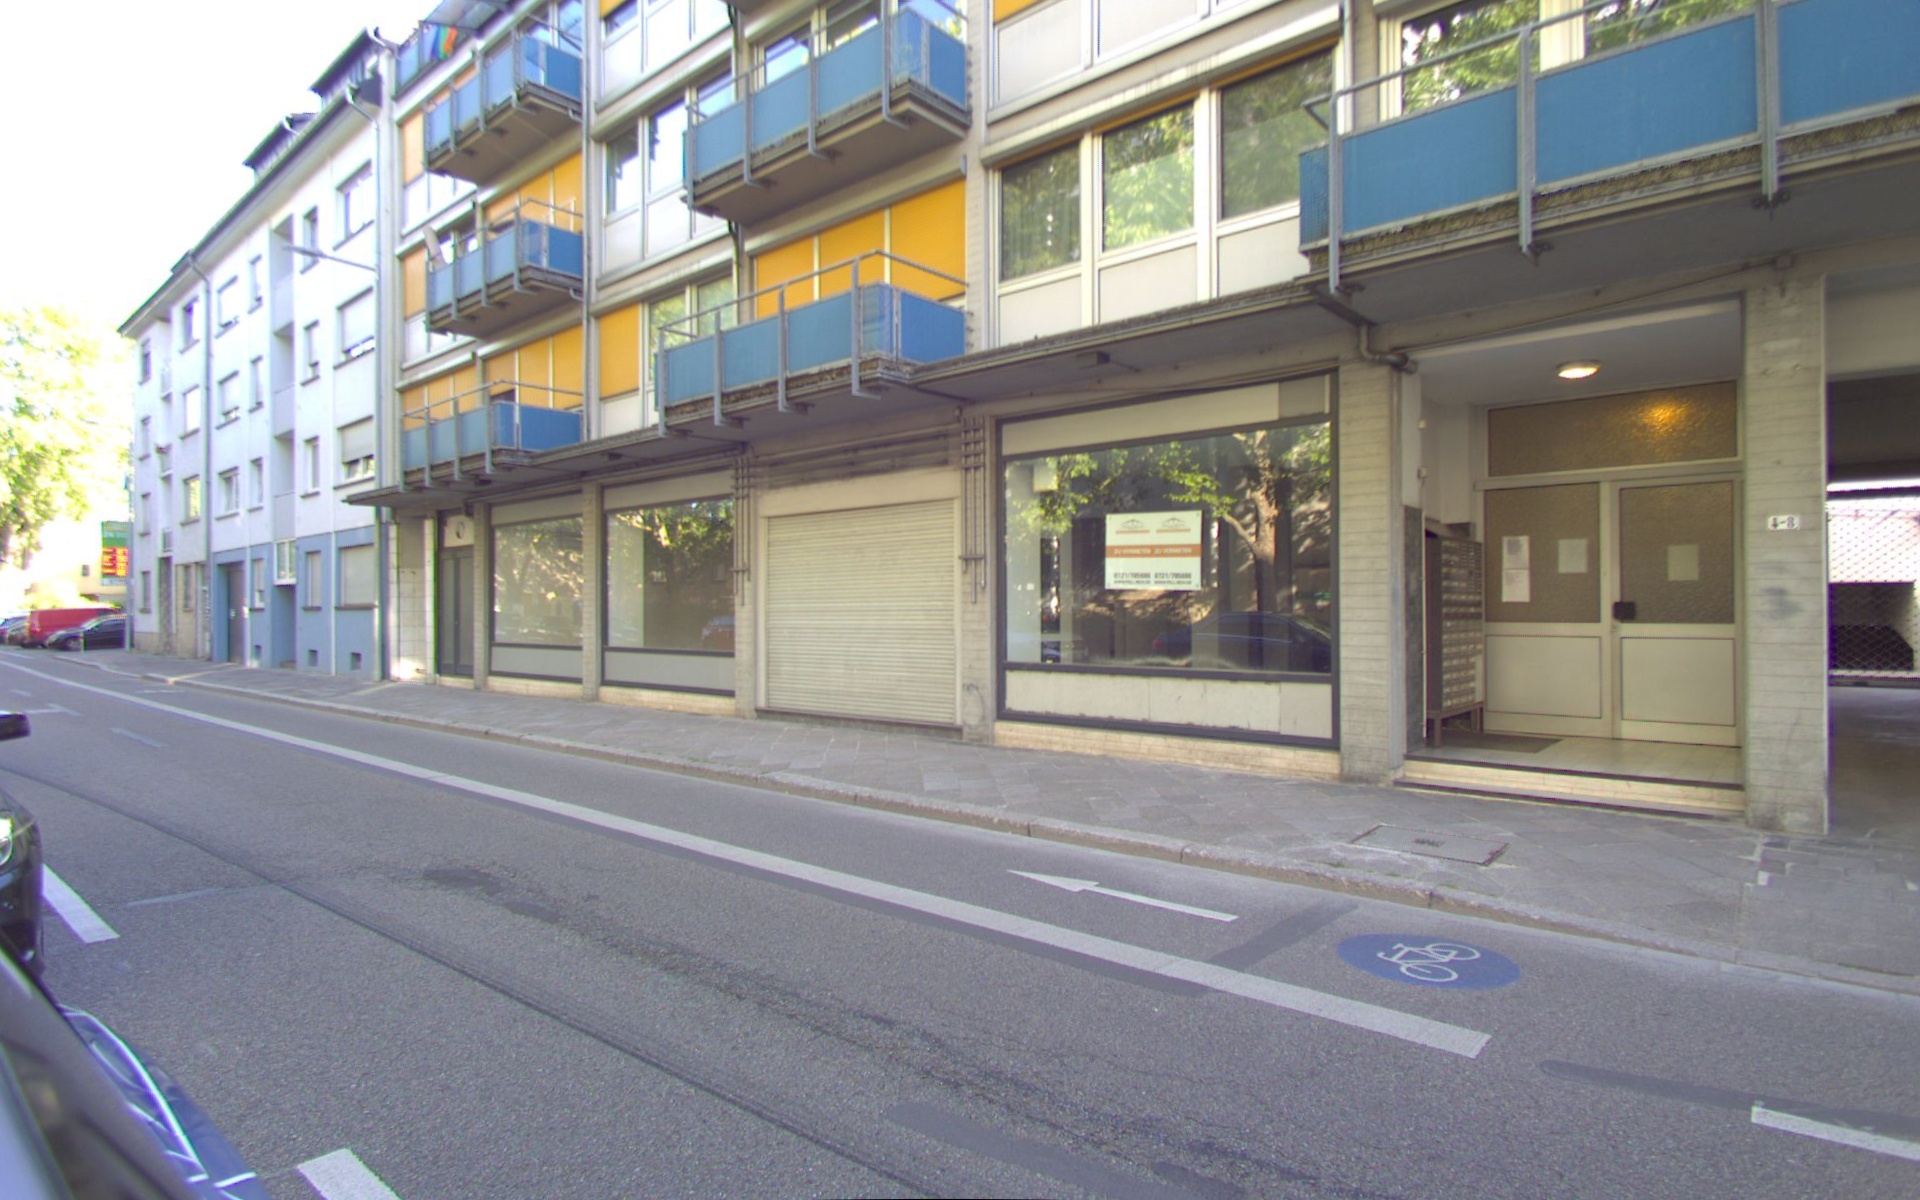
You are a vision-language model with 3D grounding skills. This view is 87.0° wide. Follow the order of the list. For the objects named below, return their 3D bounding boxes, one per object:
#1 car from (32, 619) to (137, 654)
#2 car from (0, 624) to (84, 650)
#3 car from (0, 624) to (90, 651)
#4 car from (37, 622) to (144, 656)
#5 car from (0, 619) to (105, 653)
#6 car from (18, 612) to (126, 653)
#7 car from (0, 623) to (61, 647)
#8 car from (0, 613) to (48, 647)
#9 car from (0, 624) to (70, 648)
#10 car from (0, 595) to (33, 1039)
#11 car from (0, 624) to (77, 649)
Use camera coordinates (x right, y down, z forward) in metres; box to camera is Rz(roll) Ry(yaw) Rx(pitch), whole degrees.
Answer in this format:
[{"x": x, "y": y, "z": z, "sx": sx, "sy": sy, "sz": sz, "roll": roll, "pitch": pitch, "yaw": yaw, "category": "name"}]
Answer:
[{"x": -41.516, "y": 1.708, "z": 48.051, "sx": 1.602, "sy": 1.521, "sz": 3.620, "roll": -1, "pitch": 0, "yaw": 42, "category": "car"}, {"x": -53.366, "y": 2.125, "z": 58.565, "sx": 1.594, "sy": 1.385, "sz": 3.854, "roll": -1, "pitch": 0, "yaw": 42, "category": "car"}, {"x": -51.852, "y": 2.105, "z": 57.225, "sx": 1.594, "sy": 1.385, "sz": 3.854, "roll": -1, "pitch": 0, "yaw": 42, "category": "car"}, {"x": -39.799, "y": 1.754, "z": 46.355, "sx": 1.534, "sy": 1.420, "sz": 3.551, "roll": -2, "pitch": -1, "yaw": 42, "category": "car"}, {"x": -46.056, "y": 1.788, "z": 51.408, "sx": 1.603, "sy": 1.598, "sz": 3.854, "roll": -1, "pitch": 0, "yaw": 42, "category": "car"}, {"x": -43.709, "y": 1.573, "z": 49.869, "sx": 1.749, "sy": 1.921, "sz": 3.854, "roll": -1, "pitch": -1, "yaw": 42, "category": "car"}, {"x": -59.217, "y": 2.198, "z": 63.763, "sx": 1.539, "sy": 1.451, "sz": 3.733, "roll": -1, "pitch": 0, "yaw": 42, "category": "car"}, {"x": -62.716, "y": 1.977, "z": 66.594, "sx": 1.725, "sy": 2.193, "sz": 3.854, "roll": -1, "pitch": 0, "yaw": 42, "category": "car"}, {"x": -57.188, "y": 2.209, "z": 62.006, "sx": 1.525, "sy": 1.343, "sz": 3.854, "roll": -1, "pitch": 0, "yaw": 42, "category": "car"}, {"x": -5.438, "y": 0.768, "z": 4.210, "sx": 4.291, "sy": 1.515, "sz": 1.805, "roll": -1, "pitch": 0, "yaw": 40, "category": "car"}, {"x": -55.382, "y": 2.186, "z": 60.444, "sx": 1.525, "sy": 1.343, "sz": 3.854, "roll": -1, "pitch": 0, "yaw": 42, "category": "car"}]
